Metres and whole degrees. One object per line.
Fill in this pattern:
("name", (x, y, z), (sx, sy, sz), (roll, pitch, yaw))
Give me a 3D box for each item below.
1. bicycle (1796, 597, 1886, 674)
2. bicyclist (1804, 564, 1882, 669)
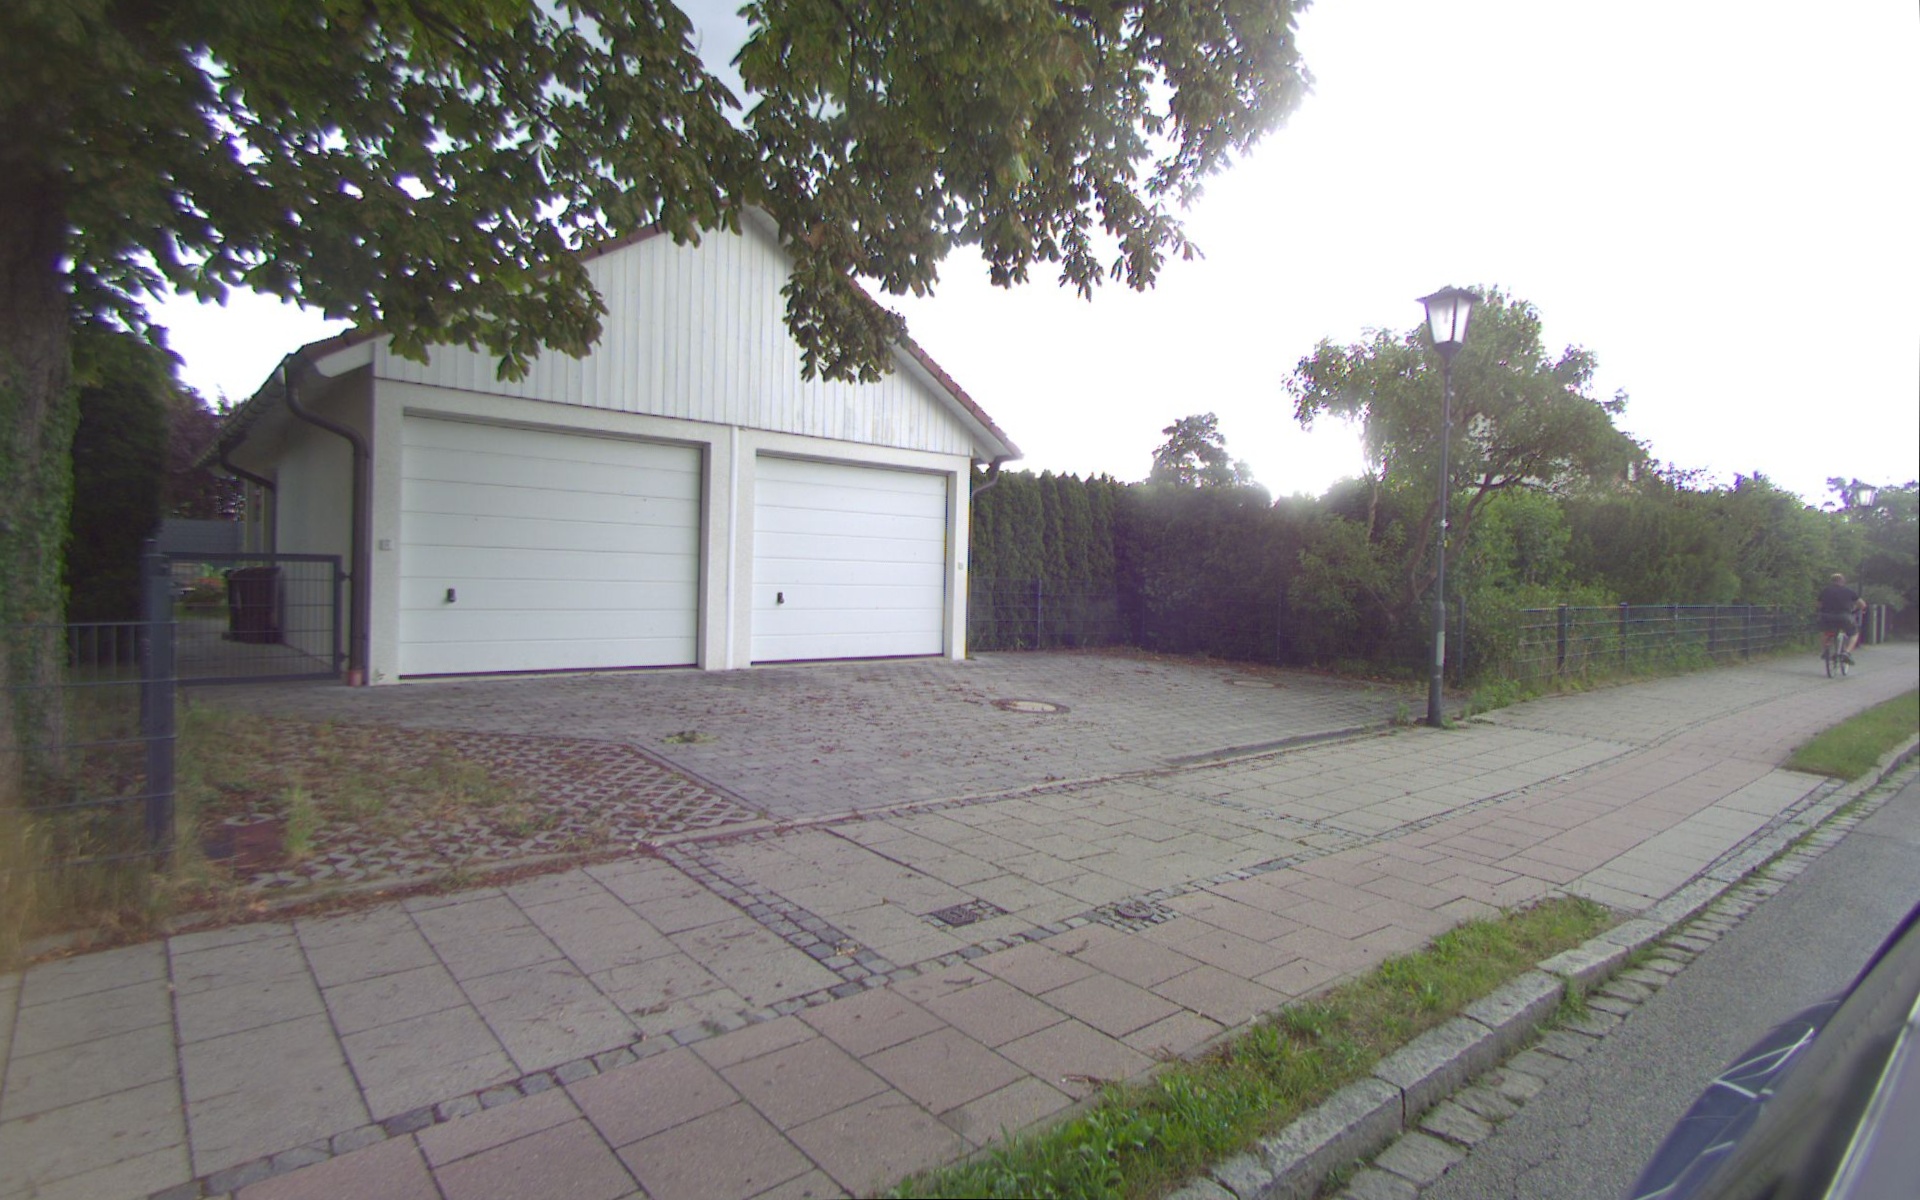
("bicycle", (14.583, 0.563, 16.739), (1.812, 1.157, 0.766), (1, 3, -39))
("bicyclist", (14.671, 0.252, 16.810), (0.874, 1.652, 0.738), (0, 3, -38))
